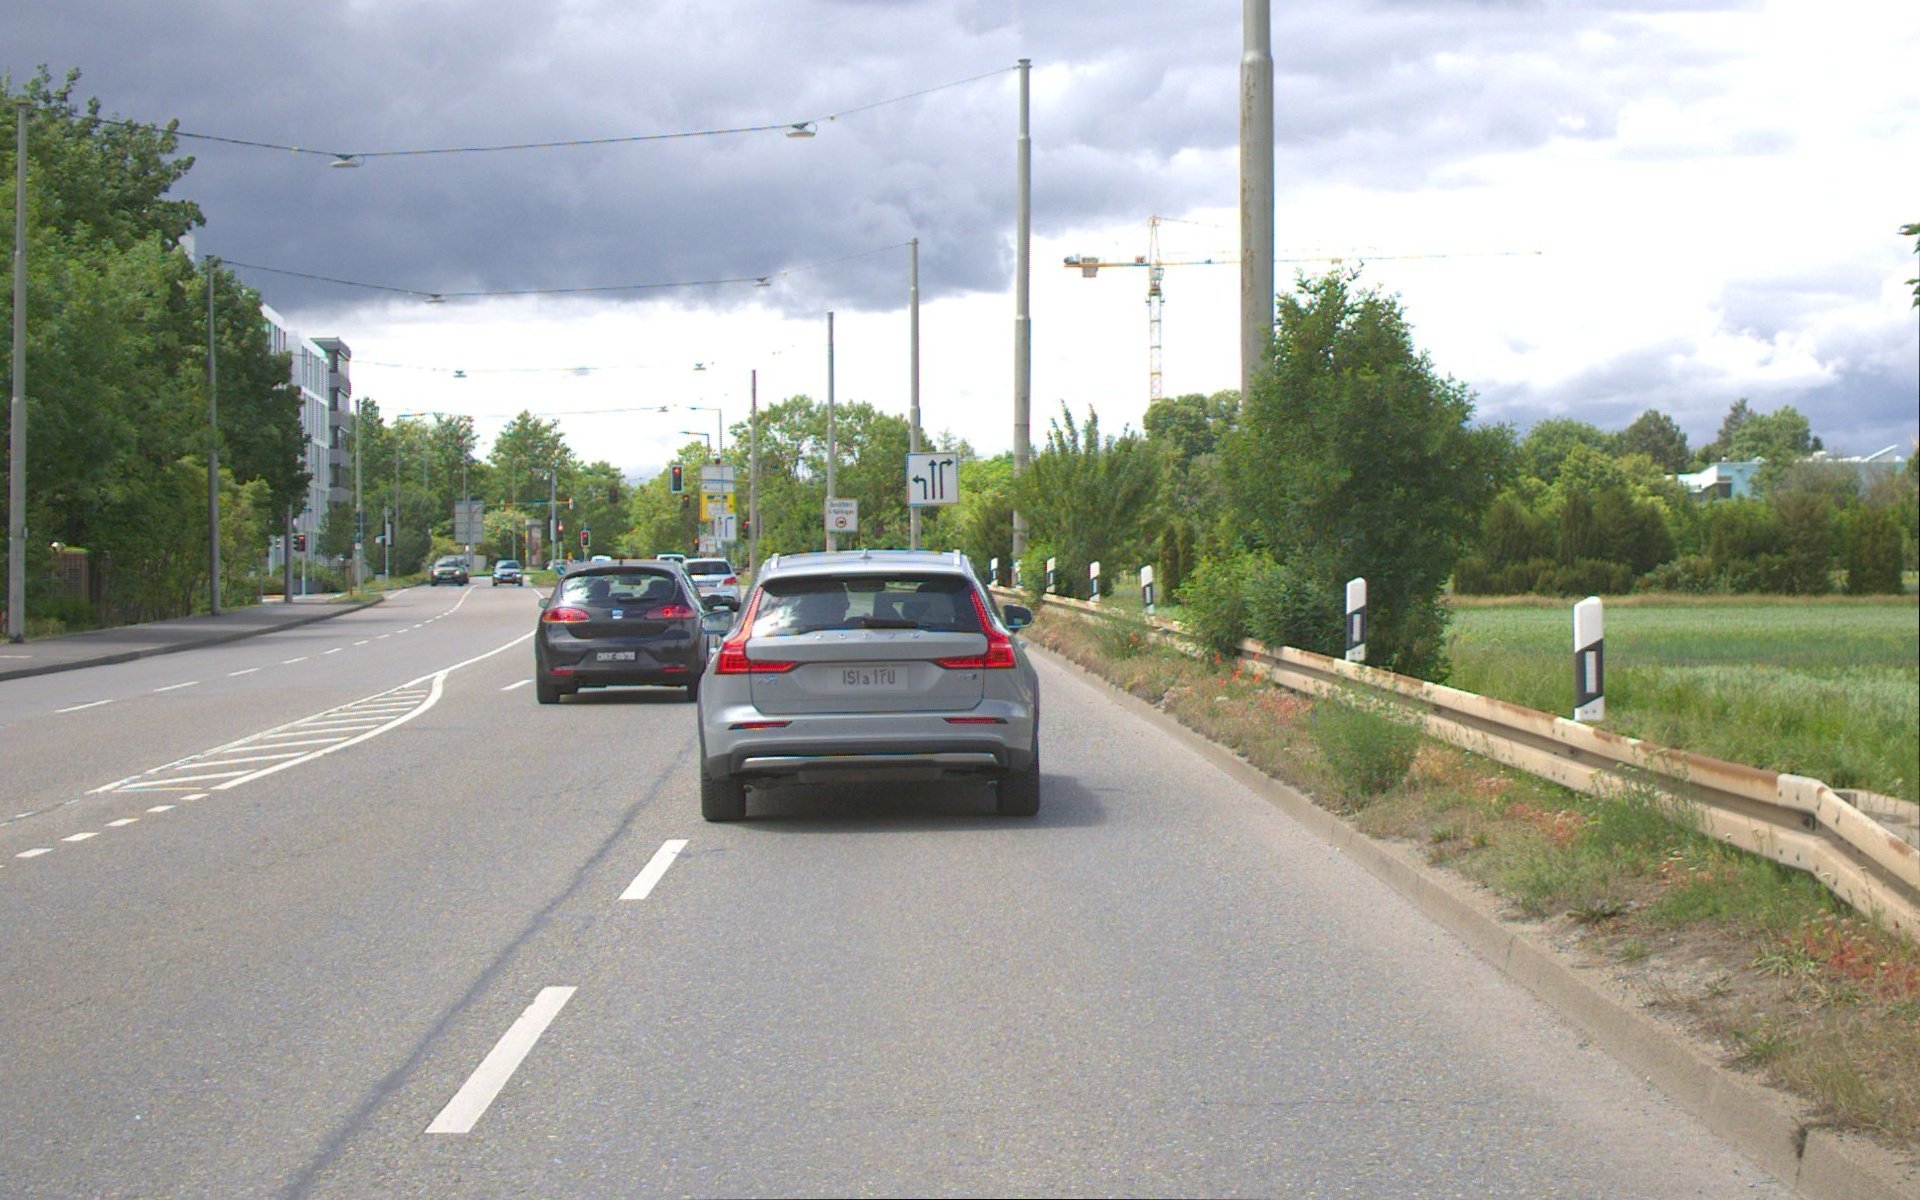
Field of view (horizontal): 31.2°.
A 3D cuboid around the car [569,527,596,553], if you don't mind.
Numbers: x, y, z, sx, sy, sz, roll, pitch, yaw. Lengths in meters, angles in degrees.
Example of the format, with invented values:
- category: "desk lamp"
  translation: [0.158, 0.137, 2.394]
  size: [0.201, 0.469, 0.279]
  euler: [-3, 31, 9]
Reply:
- category: "car"
  translation: [-27.687, -4.419, 252.299]
  size: [1.948, 1.744, 4.389]
  euler: [2, 0, -6]

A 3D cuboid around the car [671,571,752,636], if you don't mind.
- category: "car"
  translation: [-6.798, 0.104, 94.412]
  size: [1.993, 1.689, 4.000]
  euler: [2, 0, -2]

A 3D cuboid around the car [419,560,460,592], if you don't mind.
- category: "car"
  translation: [-29.795, -1.367, 196.994]
  size: [1.881, 1.711, 4.000]
  euler: [2, 0, -3]

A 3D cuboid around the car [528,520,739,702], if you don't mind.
- category: "car"
  translation: [-3.322, 0.117, 35.644]
  size: [1.993, 1.711, 4.000]
  euler: [2, 0, -3]

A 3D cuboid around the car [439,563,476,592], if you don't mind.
- category: "car"
  translation: [-31.268, -1.388, 213.958]
  size: [1.881, 1.711, 4.000]
  euler: [2, 0, -3]

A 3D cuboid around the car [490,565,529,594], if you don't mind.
- category: "car"
  translation: [-25.596, -1.145, 195.377]
  size: [1.881, 1.515, 4.000]
  euler: [2, 0, -3]

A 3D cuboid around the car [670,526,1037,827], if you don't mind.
- category: "car"
  translation: [-0.561, 0.407, 19.789]
  size: [1.895, 1.549, 4.000]
  euler: [0, 0, 0]
